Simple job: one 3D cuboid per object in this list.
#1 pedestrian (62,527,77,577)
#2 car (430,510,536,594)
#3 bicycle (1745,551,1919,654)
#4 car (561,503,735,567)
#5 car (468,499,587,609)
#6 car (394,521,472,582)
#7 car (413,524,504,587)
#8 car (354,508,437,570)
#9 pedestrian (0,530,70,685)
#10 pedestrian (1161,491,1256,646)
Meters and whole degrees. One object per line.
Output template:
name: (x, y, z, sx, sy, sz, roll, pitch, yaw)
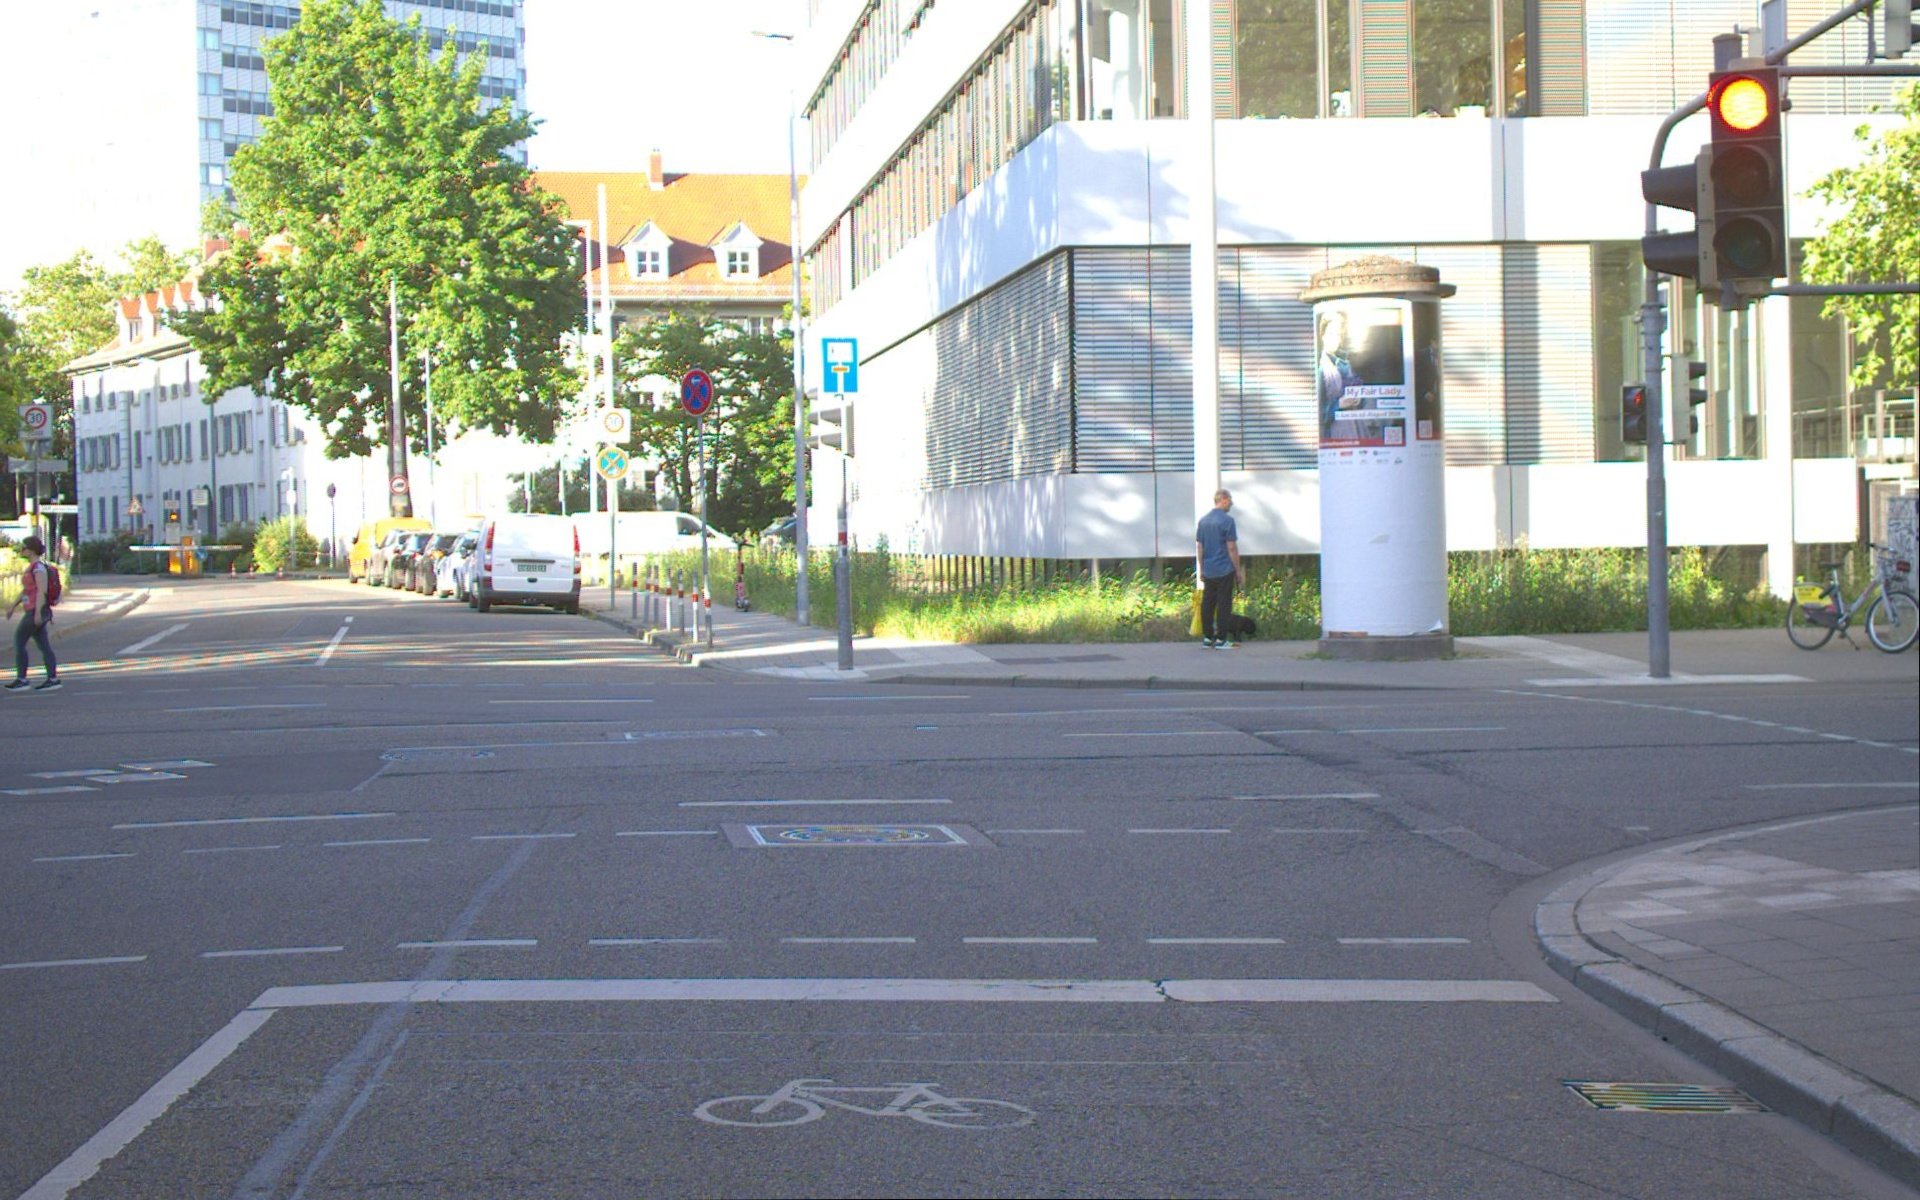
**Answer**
pedestrian: (-27.137, -1.460, 104.796, 0.380, 1.529, 0.446, -1, 1, -12)
car: (-10.646, -1.080, 76.475, 1.946, 1.789, 4.239, -1, 1, -13)
bicycle: (9.185, 0.020, 36.104, 0.463, 1.045, 1.914, -2, 2, -42)
car: (-9.333, -1.919, 102.806, 4.880, 1.865, 2.001, 0, 0, -16)
car: (-8.161, -0.884, 64.629, 2.066, 1.956, 4.239, -1, 1, -9)
car: (-13.180, -1.228, 85.825, 1.703, 1.459, 4.239, -1, 1, -11)
car: (-11.883, -1.058, 81.326, 1.703, 1.419, 4.239, -1, 1, -14)
car: (-15.731, -1.705, 95.642, 2.100, 1.652, 4.477, -1, 1, -11)
pedestrian: (-9.725, 0.069, 36.002, 0.711, 1.594, 0.617, -1, 1, -11)
pedestrian: (2.806, -0.358, 38.854, 0.811, 1.730, 0.653, 0, 2, 45)
